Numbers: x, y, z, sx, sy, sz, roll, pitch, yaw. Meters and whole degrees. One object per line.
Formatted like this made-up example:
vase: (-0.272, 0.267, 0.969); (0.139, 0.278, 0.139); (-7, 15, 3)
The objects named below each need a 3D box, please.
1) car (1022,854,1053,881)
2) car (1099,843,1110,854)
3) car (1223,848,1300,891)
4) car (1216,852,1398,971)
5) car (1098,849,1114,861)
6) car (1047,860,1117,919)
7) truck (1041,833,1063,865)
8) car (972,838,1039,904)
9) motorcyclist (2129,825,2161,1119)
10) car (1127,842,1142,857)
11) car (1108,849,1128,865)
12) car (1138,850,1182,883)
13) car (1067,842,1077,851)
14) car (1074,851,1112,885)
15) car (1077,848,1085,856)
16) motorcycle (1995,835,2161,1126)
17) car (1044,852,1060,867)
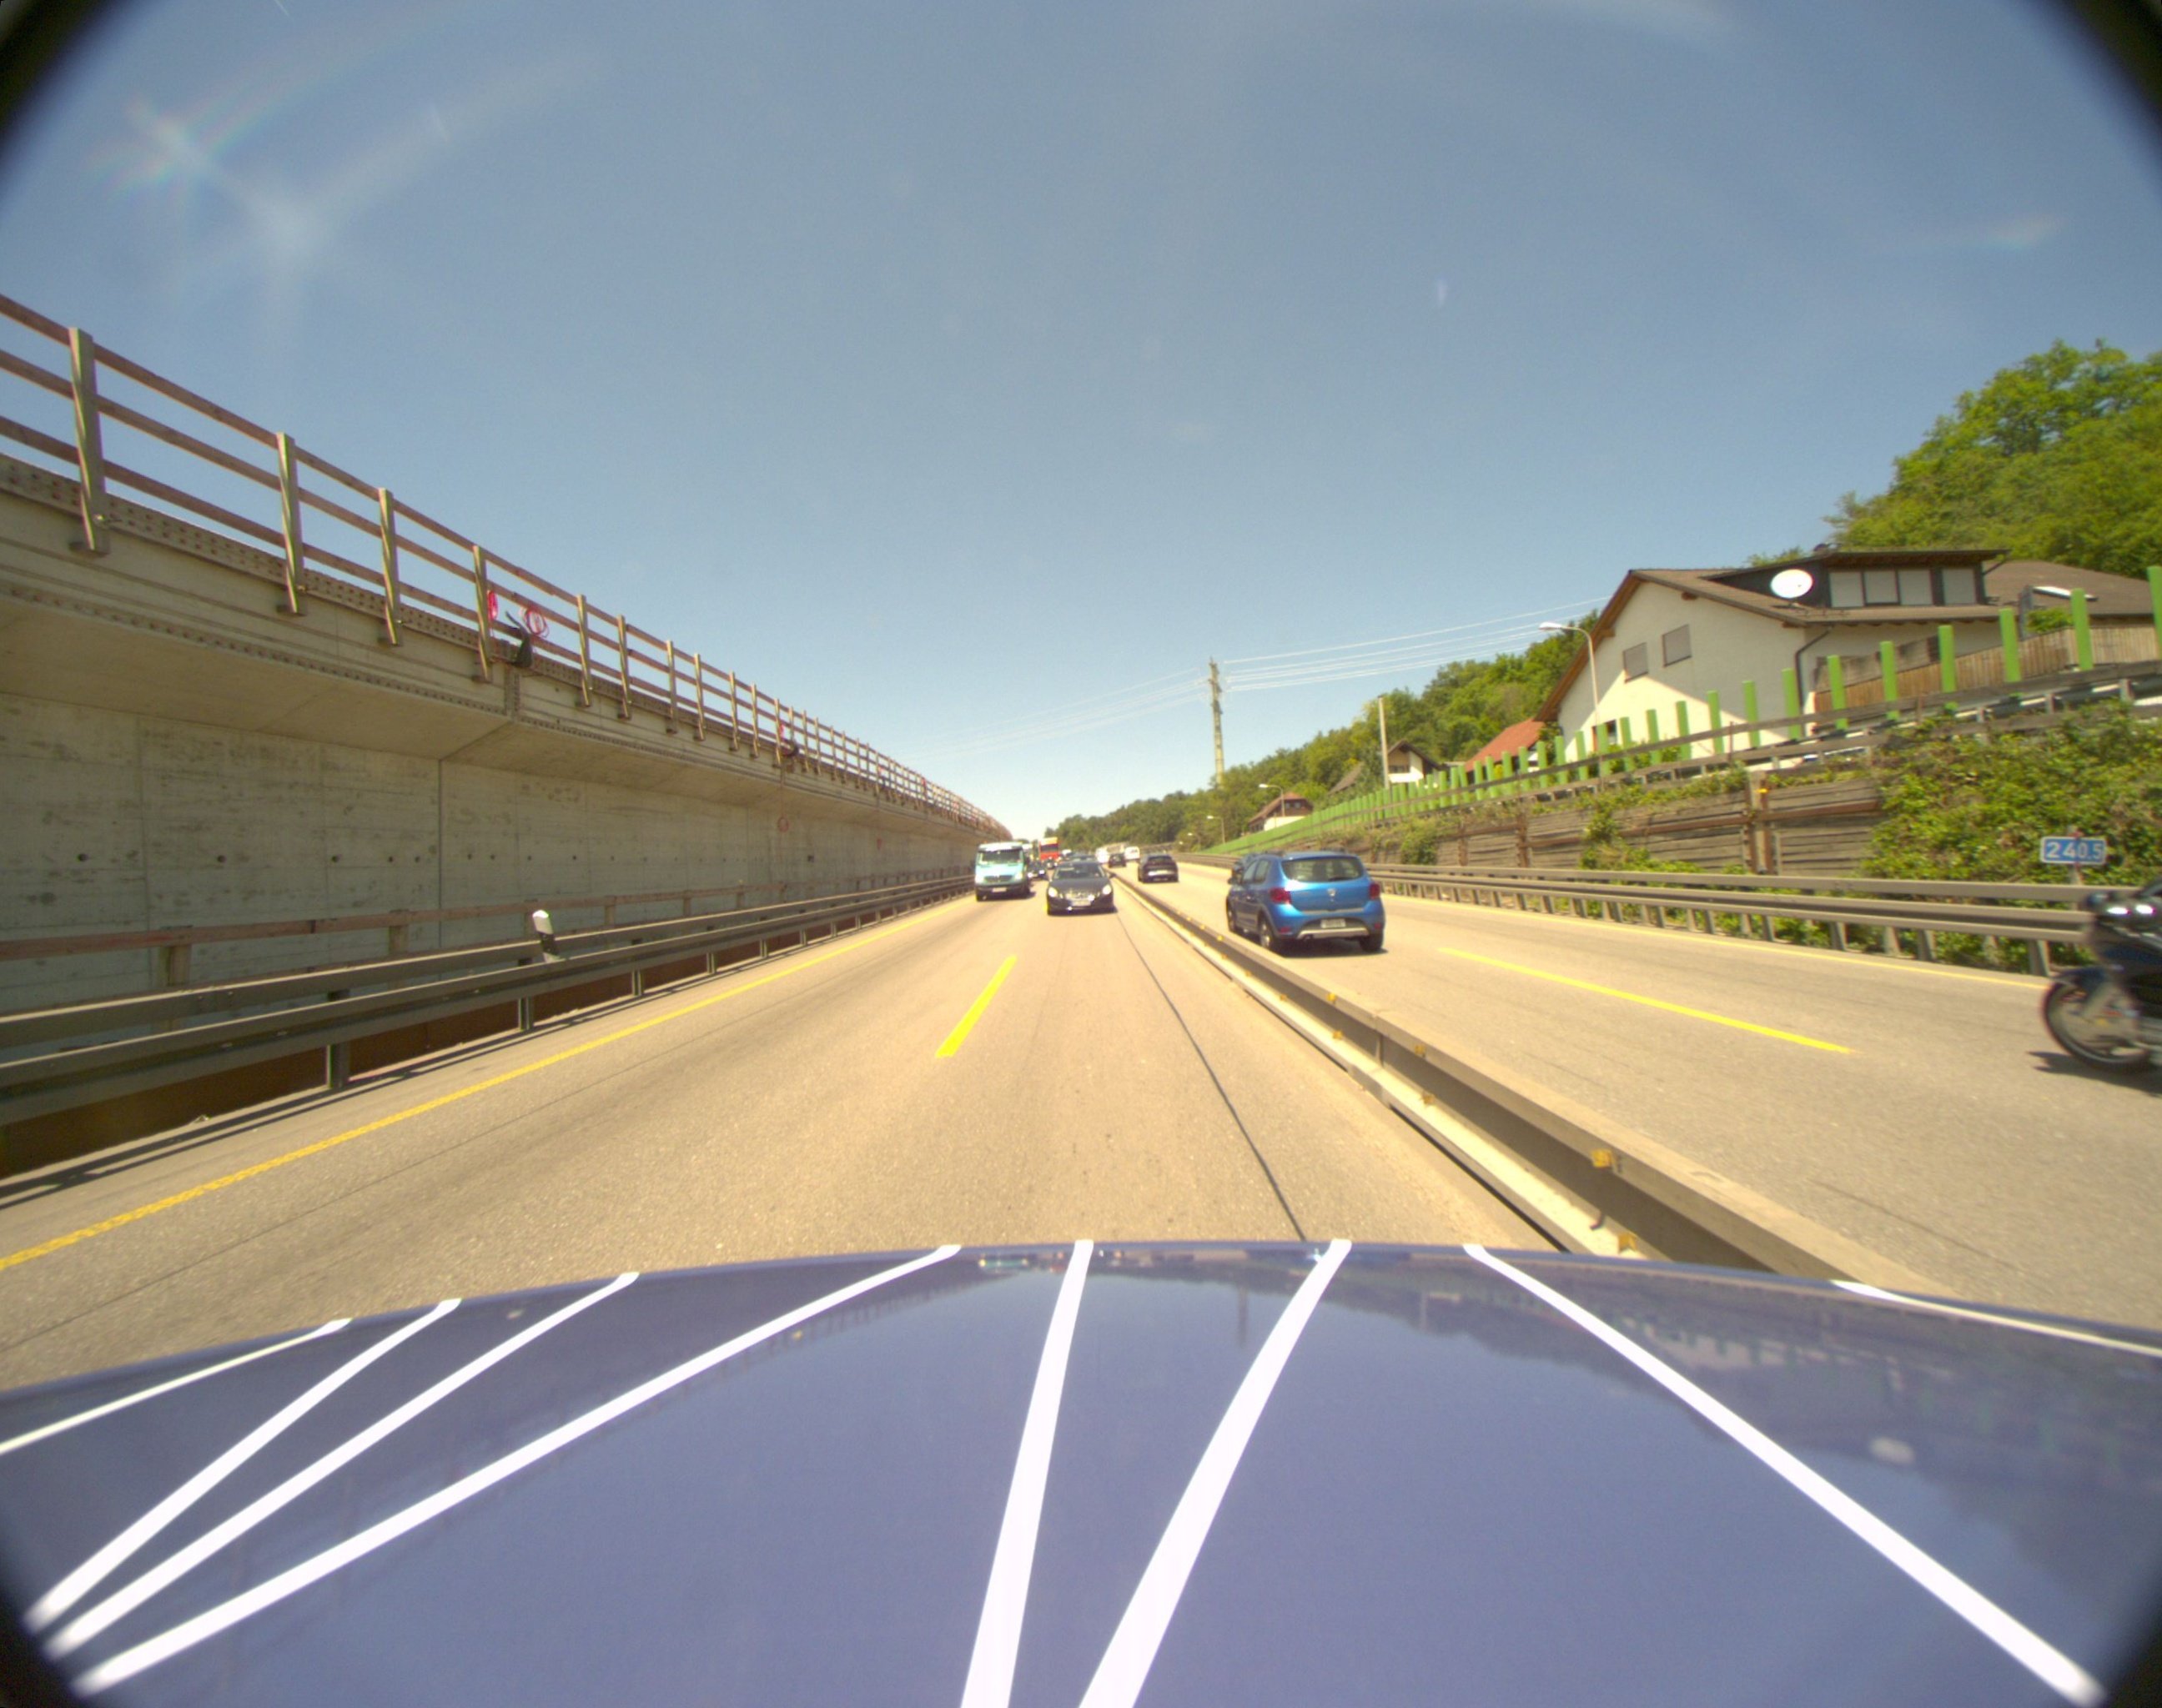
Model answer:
car: (-3.110, 0.932, 54.892); (1.859, 1.650, 3.999); (-5, 1, 0)
car: (4.589, -1.096, 146.606); (1.829, 1.914, 5.244); (-4, 0, 3)
car: (7.121, 0.568, 30.527); (1.818, 1.440, 5.006); (-4, 1, 0)
car: (3.499, 0.794, 12.549); (1.768, 1.601, 3.891); (-2, 0, -1)
car: (3.235, 0.104, 98.023); (1.737, 1.429, 4.257); (-4, 1, 0)
car: (-0.050, 0.952, 22.021); (1.793, 1.440, 4.296); (-2, 0, -2)
truck: (-4.098, -0.747, 107.482); (2.651, 3.978, 11.192); (-5, 1, -2)
car: (-3.082, 0.610, 32.469); (1.968, 2.367, 7.209); (-4, 0, 0)
motorcyclist: (6.117, 0.631, 3.822); (0.667, 1.576, 0.736); (-2, 1, 1)
car: (6.835, -0.539, 97.611); (1.600, 1.823, 4.752); (-2, 1, 0)
car: (3.639, 0.290, 75.631); (1.610, 1.438, 4.668); (-3, 1, -1)
car: (4.047, 0.605, 39.514); (1.847, 1.521, 4.293); (-2, 1, 0)
car: (-2.128, -1.773, 181.500); (2.163, 1.895, 5.325); (-4, 1, 0)
car: (0.630, 0.739, 43.281); (1.860, 1.650, 3.999); (-5, 1, -1)
car: (-0.052, -0.514, 193.468); (1.999, 1.816, 4.507); (-2, 0, -1)
motorcycle: (6.141, 0.660, 3.446); (0.792, 1.542, 2.621); (-3, 0, 1)
car: (-3.484, 0.649, 91.668); (1.674, 1.499, 3.647); (-5, 1, 0)
